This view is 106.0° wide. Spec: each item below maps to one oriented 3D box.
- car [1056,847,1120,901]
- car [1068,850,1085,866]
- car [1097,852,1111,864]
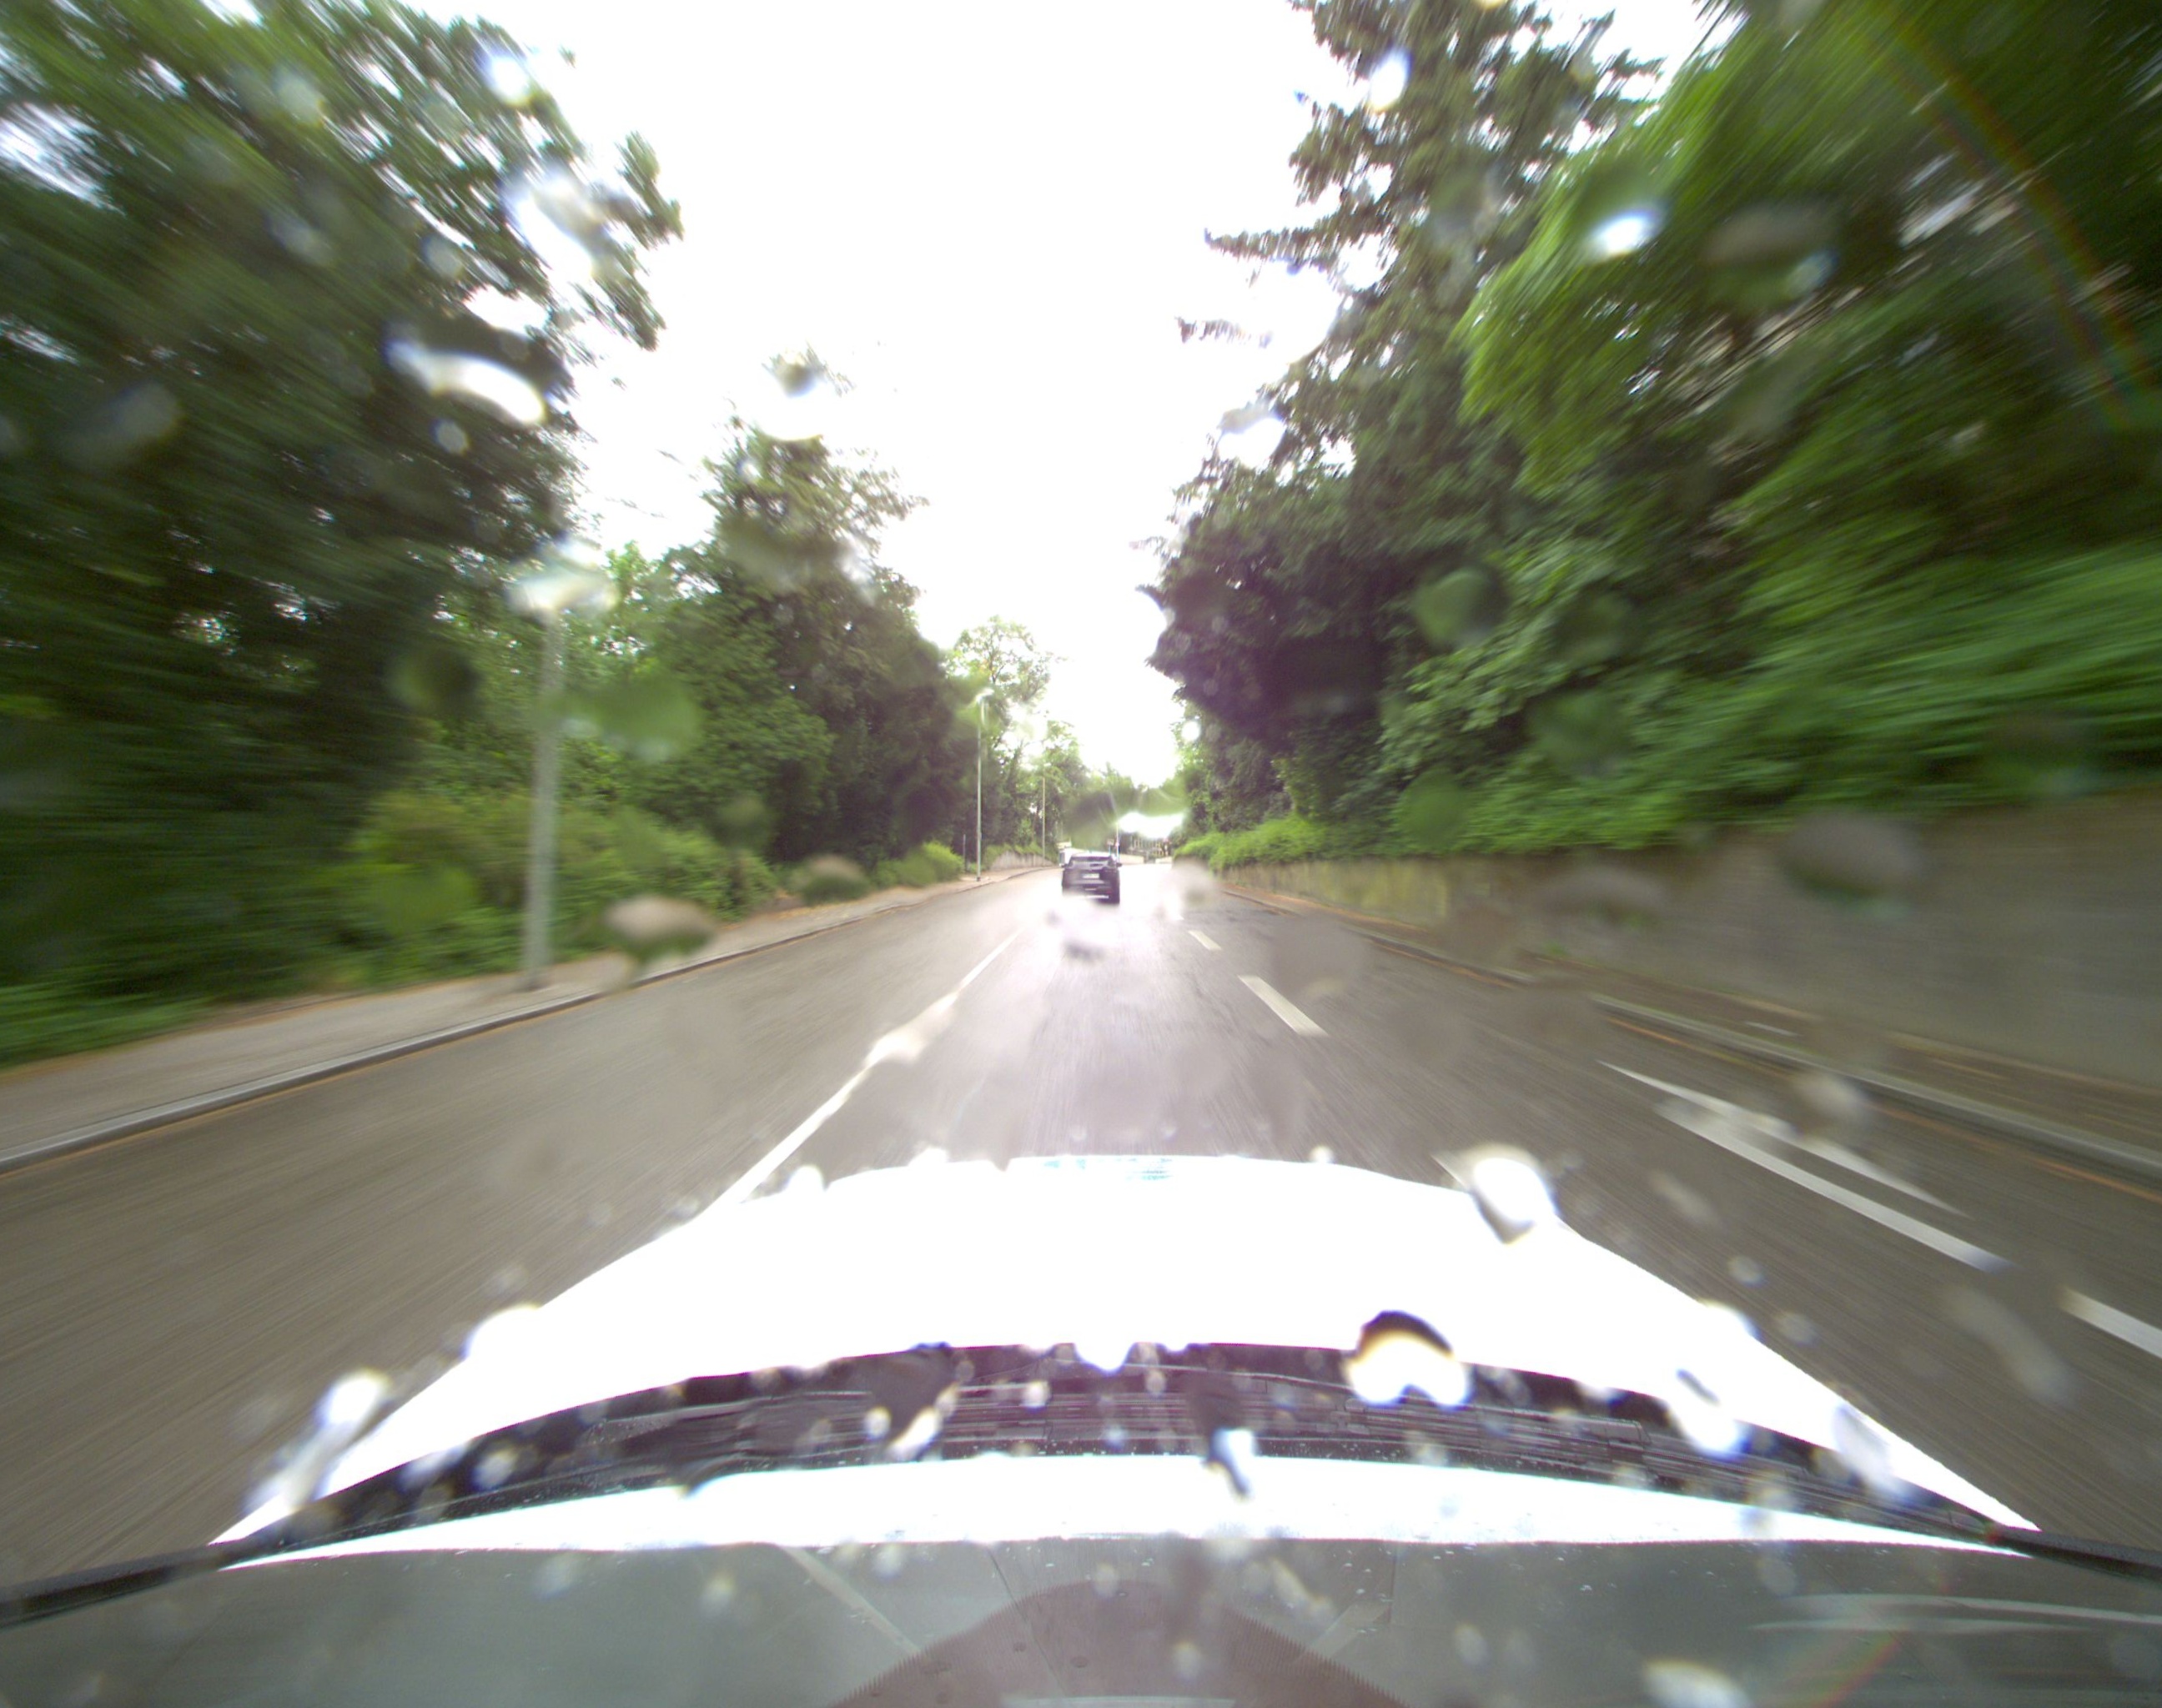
[{"bbox_3d":[0.277,0.590,26.660,1.921,1.613,4.001,-1,0,1],"label":"car"},{"bbox_3d":[-0.453,0.391,90.073,1.824,1.711,4.000,0,0,0],"label":"car"},{"bbox_3d":[2.746,0.486,99.506,1.669,1.496,3.461,-1,0,1],"label":"car"}]
